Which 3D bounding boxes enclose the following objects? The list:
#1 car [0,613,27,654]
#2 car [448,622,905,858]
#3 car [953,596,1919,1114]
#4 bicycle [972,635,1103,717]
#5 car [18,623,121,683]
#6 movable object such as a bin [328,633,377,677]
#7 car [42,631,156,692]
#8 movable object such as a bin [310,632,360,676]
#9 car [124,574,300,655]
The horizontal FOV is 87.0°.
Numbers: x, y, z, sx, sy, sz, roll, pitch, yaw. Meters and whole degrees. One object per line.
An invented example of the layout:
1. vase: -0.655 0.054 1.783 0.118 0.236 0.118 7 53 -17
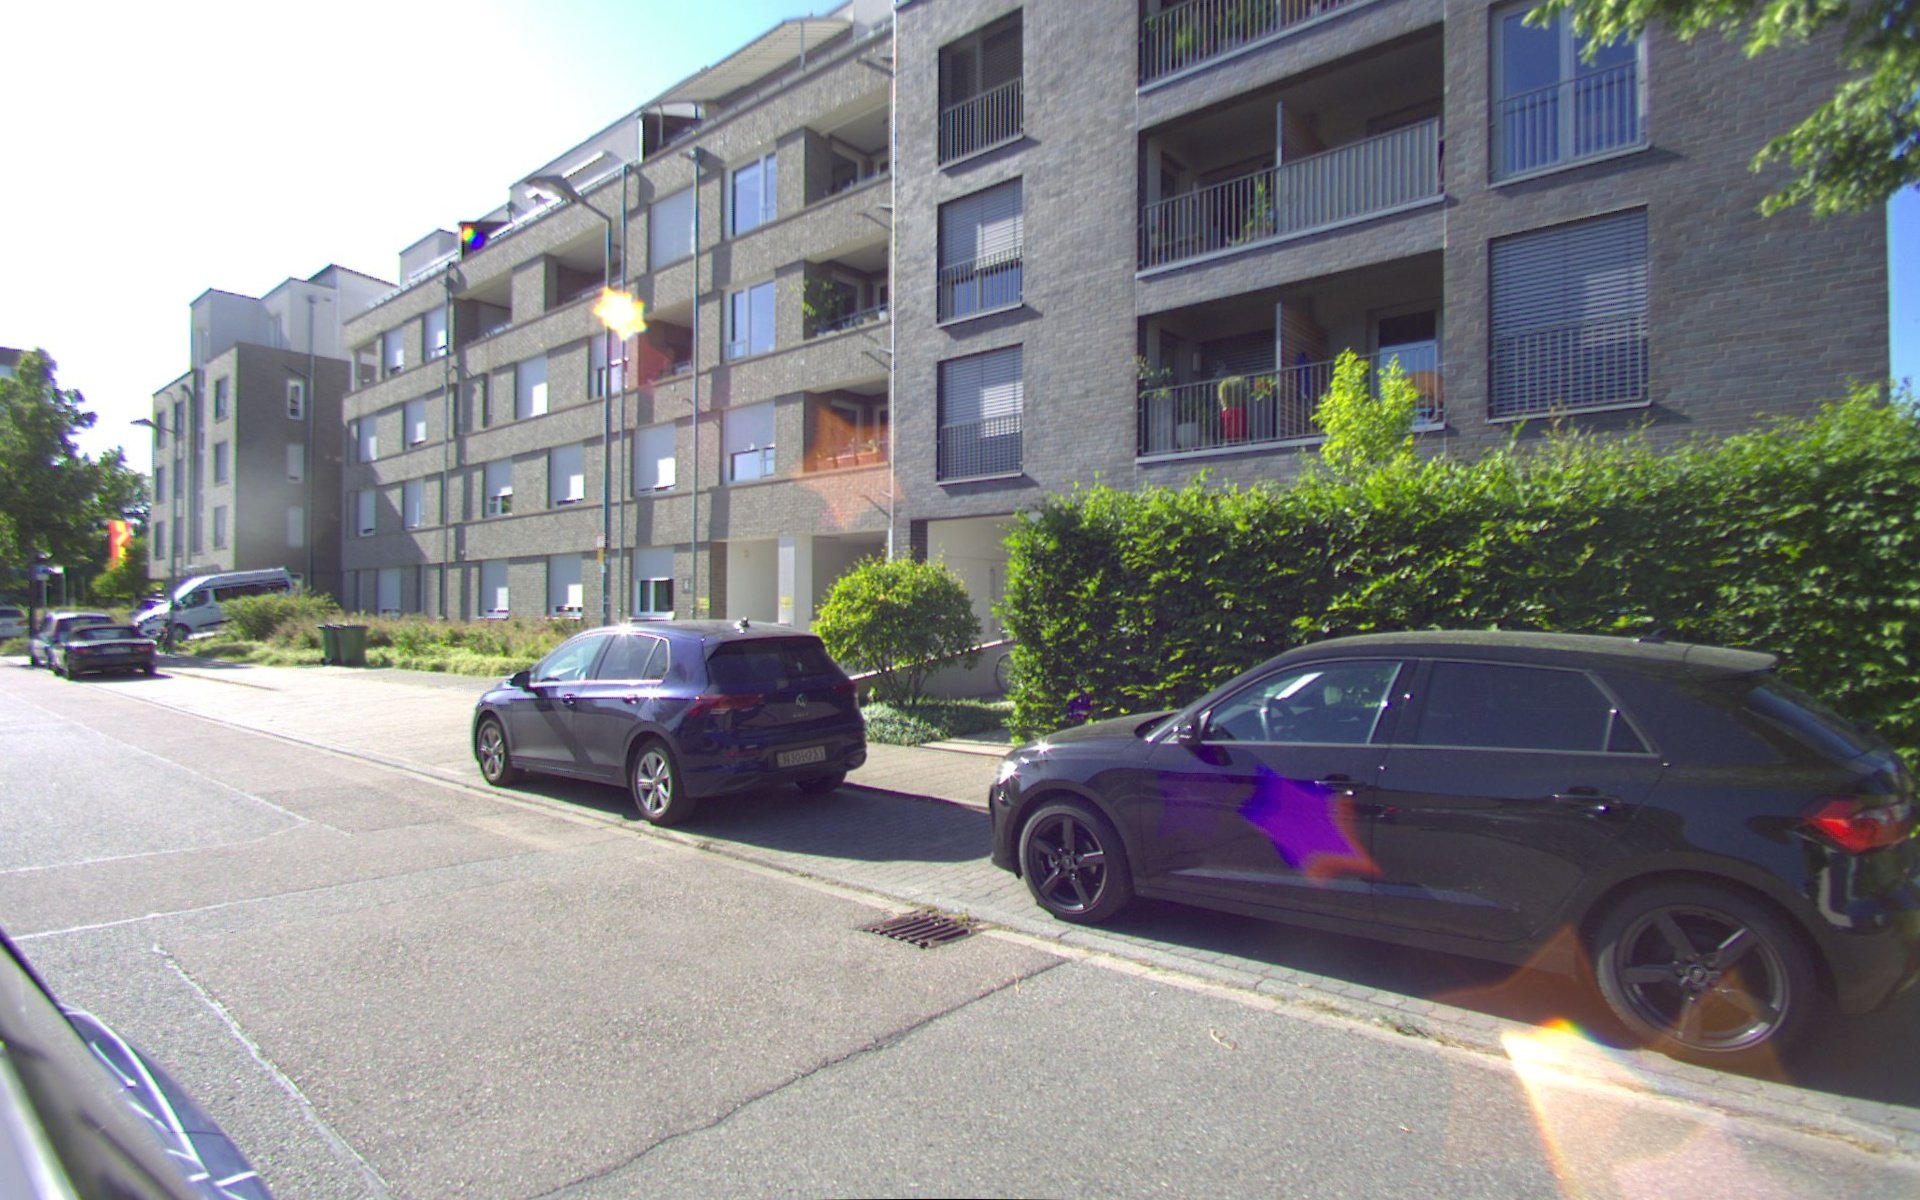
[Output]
1. car: -39.315 1.348 40.942 3.885 1.612 1.773 -1 -1 39
2. car: -2.582 0.966 8.694 4.097 1.485 1.821 -1 0 41
3. car: 2.079 0.762 4.768 4.025 1.485 1.821 -1 0 41
4. bicycle: 1.106 1.081 14.782 1.874 1.082 0.634 -1 1 41
5. car: -24.420 1.395 27.714 3.560 1.536 1.610 -1 -2 40
6. movable object such as a bin: -15.504 1.395 25.837 0.677 1.045 0.852 -1 1 38
7. car: -20.535 1.418 24.092 3.561 1.257 1.610 -1 0 42
8. movable object such as a bin: -16.175 1.391 26.198 0.680 1.045 0.910 -1 1 38
9. car: -28.896 0.597 39.249 2.011 2.924 5.091 -1 -2 37
